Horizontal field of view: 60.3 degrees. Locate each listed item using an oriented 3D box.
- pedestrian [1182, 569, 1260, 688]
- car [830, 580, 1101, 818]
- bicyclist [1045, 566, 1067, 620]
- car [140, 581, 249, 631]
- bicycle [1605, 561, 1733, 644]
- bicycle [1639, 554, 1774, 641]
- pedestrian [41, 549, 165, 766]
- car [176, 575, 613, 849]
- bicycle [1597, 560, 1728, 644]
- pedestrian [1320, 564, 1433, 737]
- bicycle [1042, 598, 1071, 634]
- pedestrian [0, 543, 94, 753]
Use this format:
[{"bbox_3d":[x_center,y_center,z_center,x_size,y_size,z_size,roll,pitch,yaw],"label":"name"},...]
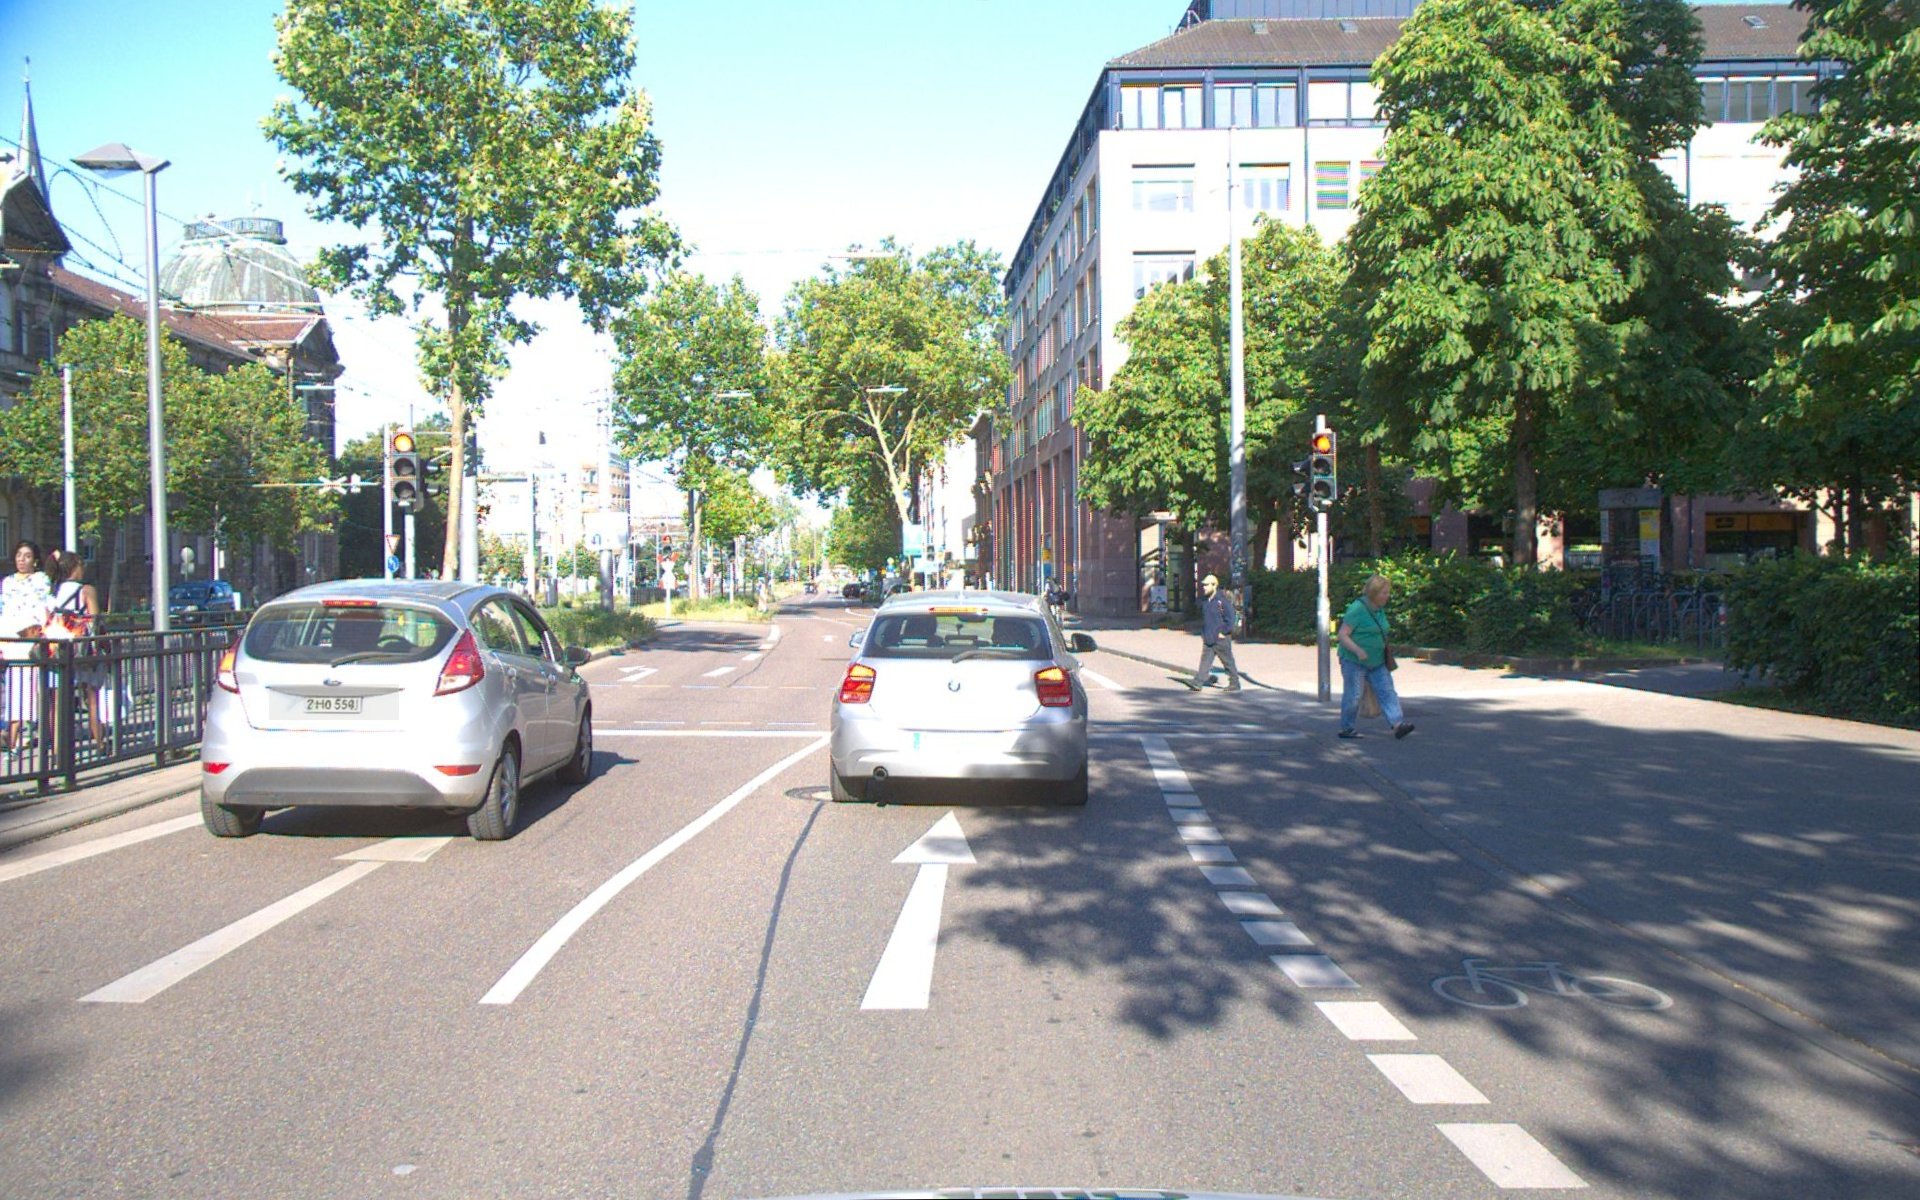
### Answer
[{"bbox_3d":[3.698,0.399,23.469,0.924,1.657,0.626,0,0,-13],"label":"pedestrian"},{"bbox_3d":[0.145,0.598,12.311,1.694,1.414,3.842,1,1,3],"label":"car"},{"bbox_3d":[3.008,-0.225,51.790,0.644,1.686,0.765,-1,0,5],"label":"bicyclist"},{"bbox_3d":[-26.835,0.178,58.138,1.953,1.653,4.000,-1,1,0],"label":"car"},{"bbox_3d":[12.342,0.039,28.827,1.956,1.337,0.574,-2,0,-1],"label":"bicycle"},{"bbox_3d":[12.395,-0.042,27.478,1.956,1.337,0.574,-2,0,-1],"label":"bicycle"},{"bbox_3d":[-6.472,0.419,12.520,0.619,1.584,0.646,-1,0,-8],"label":"pedestrian"},{"bbox_3d":[-3.352,0.582,10.515,1.627,1.434,3.631,0,0,-2],"label":"car"},{"bbox_3d":[11.975,0.027,28.204,1.956,1.337,0.574,-2,0,-1],"label":"bicycle"},{"bbox_3d":[3.988,0.471,15.842,0.815,1.603,0.737,-2,0,34],"label":"pedestrian"},{"bbox_3d":[3.040,0.477,51.723,0.814,1.059,1.876,-1,1,5],"label":"bicycle"},{"bbox_3d":[-7.439,0.387,13.321,0.627,1.647,0.640,-1,-2,-7],"label":"pedestrian"}]
